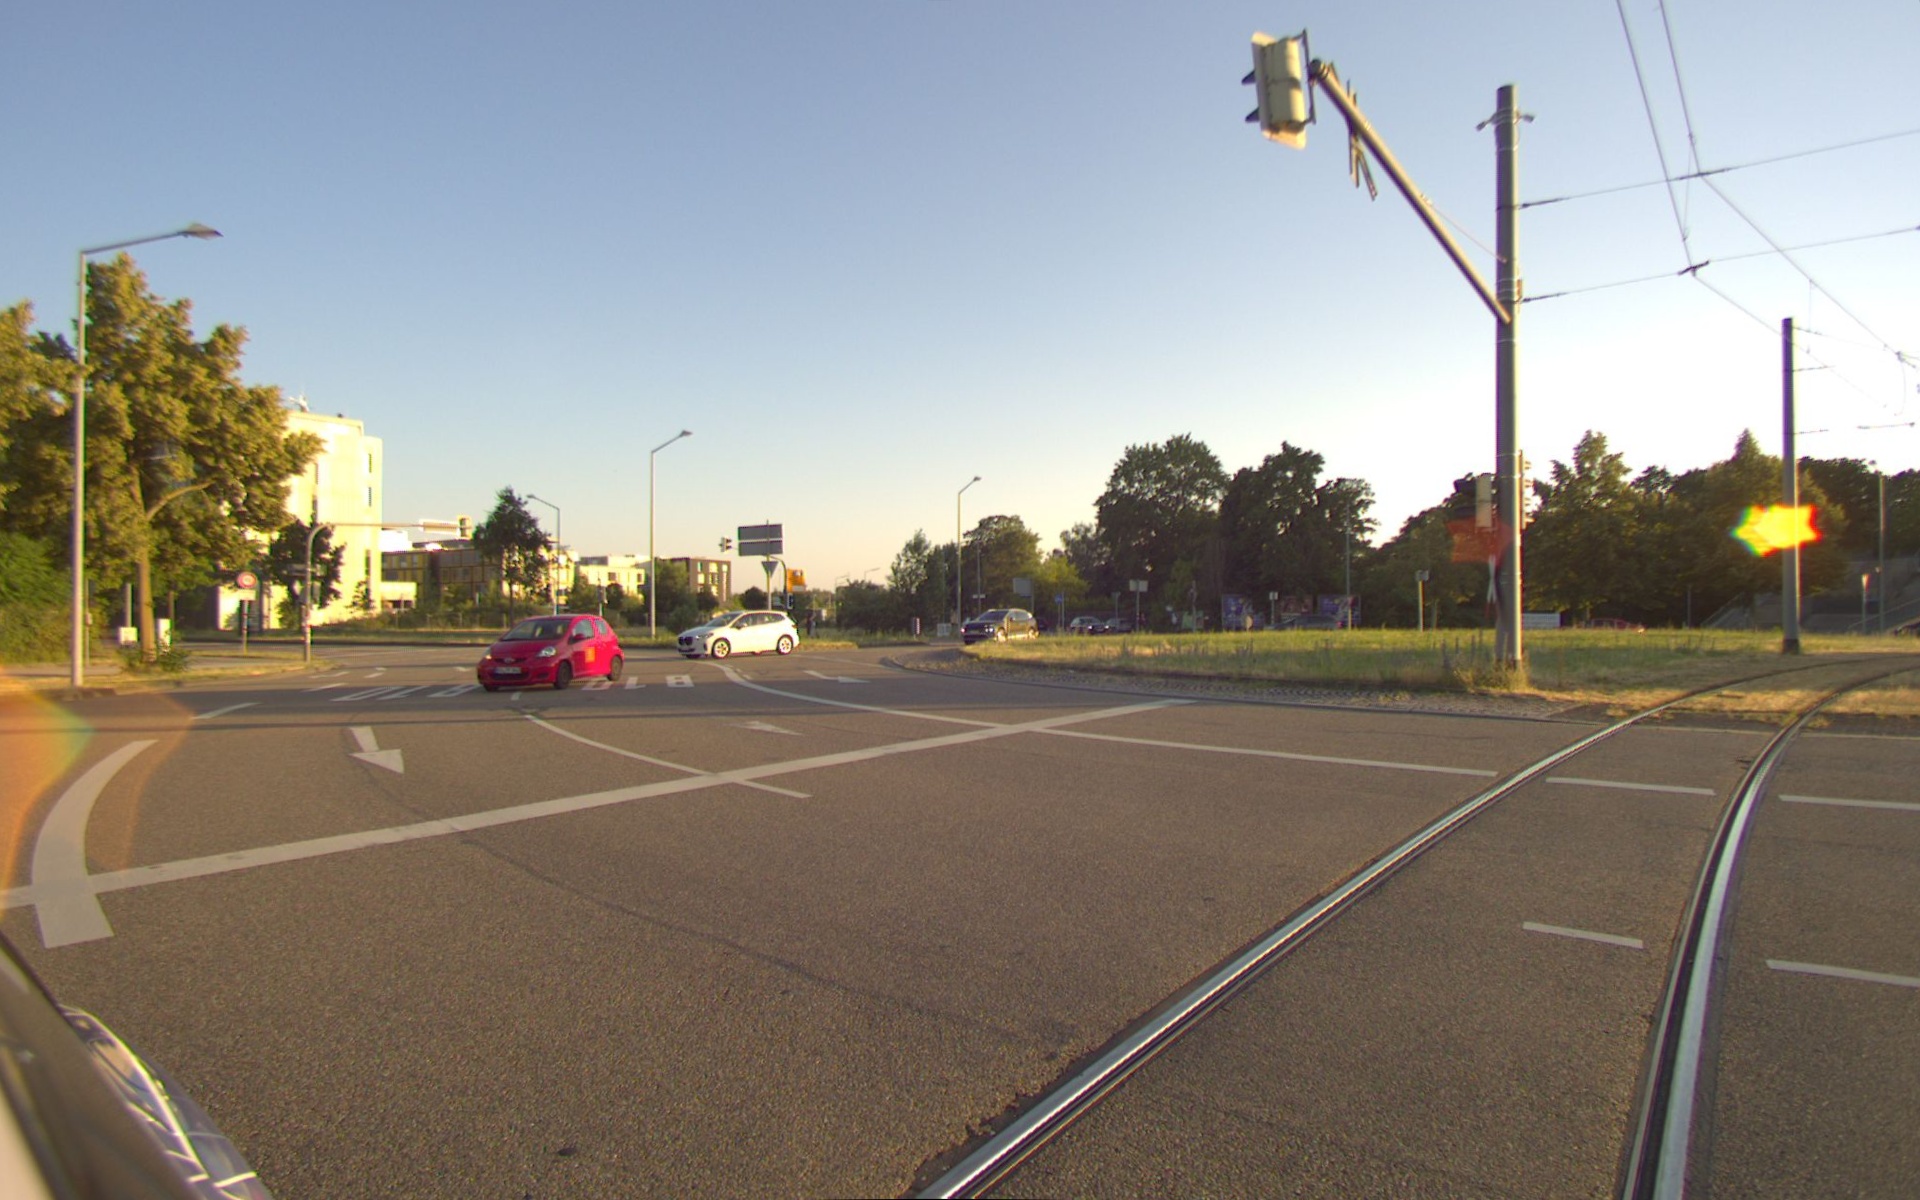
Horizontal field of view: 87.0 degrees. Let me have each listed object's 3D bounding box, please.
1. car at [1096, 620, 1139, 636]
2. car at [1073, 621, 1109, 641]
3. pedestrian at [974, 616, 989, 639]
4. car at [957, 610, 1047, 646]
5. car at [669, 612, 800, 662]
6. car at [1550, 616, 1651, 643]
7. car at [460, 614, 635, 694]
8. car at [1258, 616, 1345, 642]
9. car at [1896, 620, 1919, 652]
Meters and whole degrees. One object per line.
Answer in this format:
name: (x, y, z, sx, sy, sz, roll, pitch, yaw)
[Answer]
car: (14.222, 2.548, 91.475, 1.911, 1.443, 4.417, 0, -2, -19)
car: (10.174, 2.375, 79.082, 1.813, 1.512, 4.261, 0, -1, -7)
pedestrian: (1.551, 2.006, 73.772, 0.875, 1.714, 0.722, 0, -2, -15)
car: (1.944, 1.251, 45.814, 1.828, 1.570, 4.154, -2, -2, 43)
car: (-7.622, 1.230, 34.444, 1.759, 1.570, 4.158, -2, -2, 40)
car: (35.877, 1.658, 56.758, 4.590, 1.443, 1.919, -2, -2, 39)
car: (-8.239, 1.036, 20.652, 1.672, 1.432, 4.206, -1, -1, 3)
car: (19.718, 1.680, 58.609, 4.346, 1.443, 1.942, -1, -2, 4)
car: (44.943, 1.593, 45.077, 1.911, 1.443, 4.333, 0, -2, -18)
